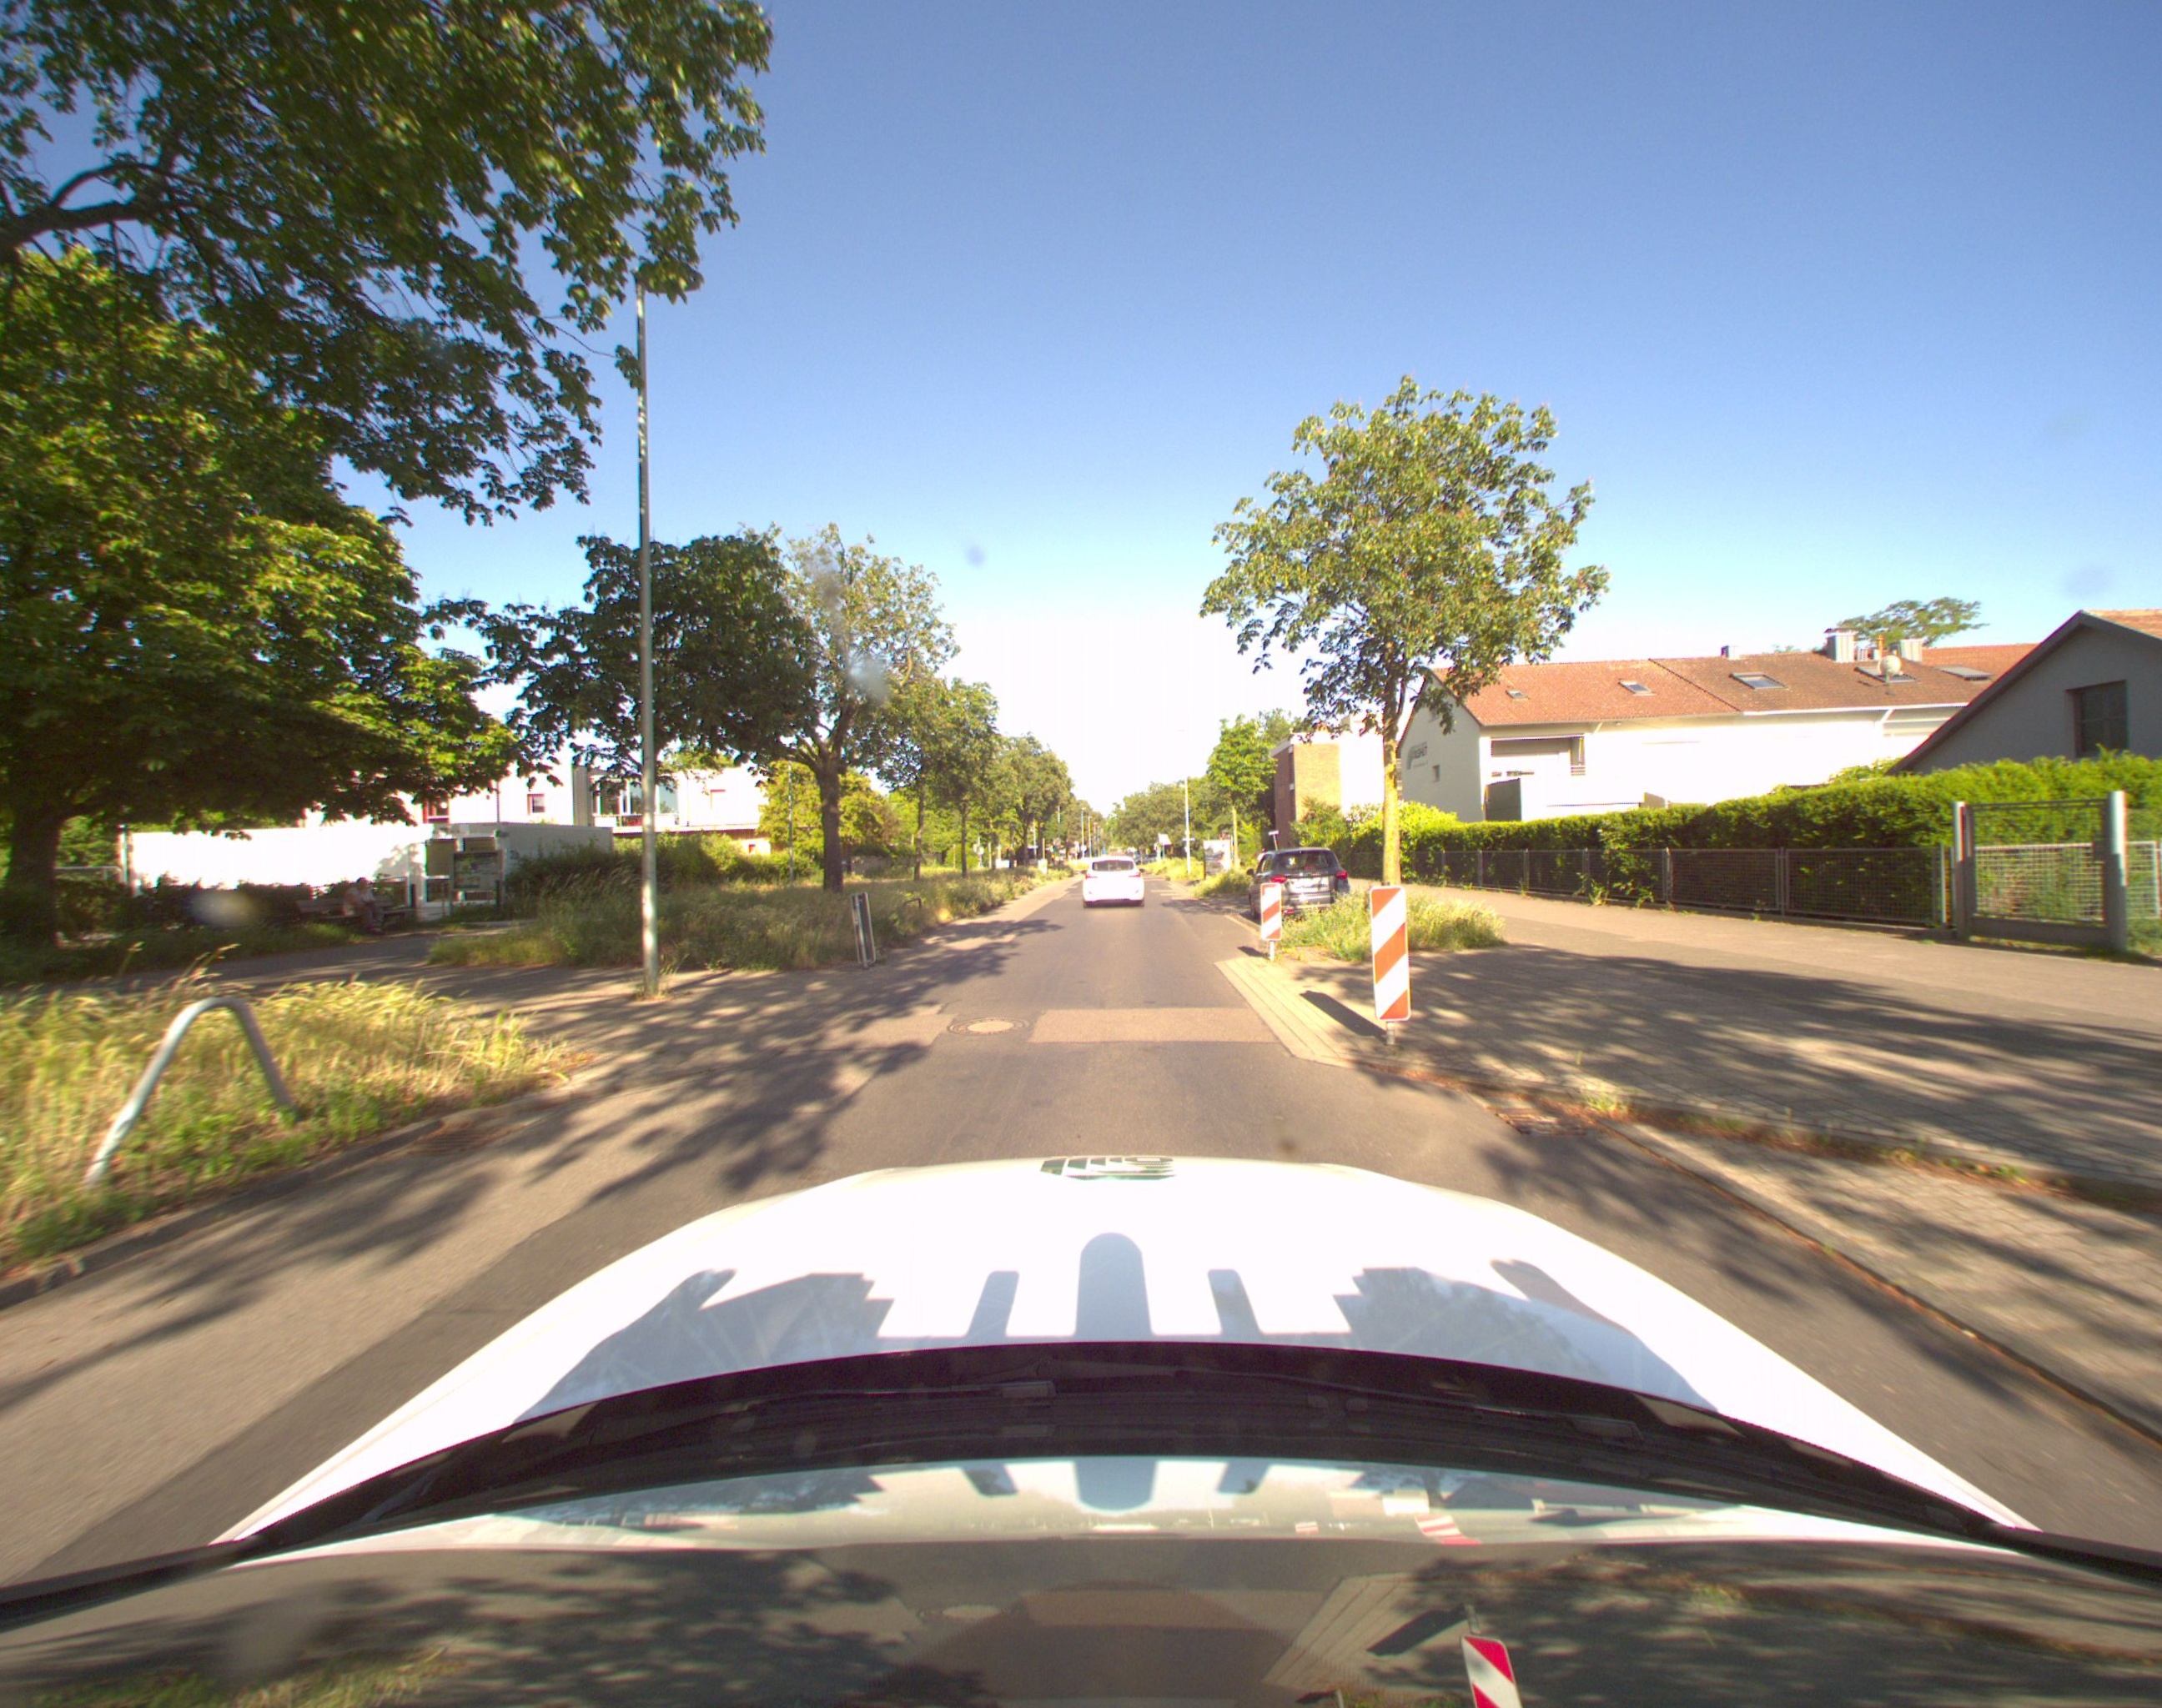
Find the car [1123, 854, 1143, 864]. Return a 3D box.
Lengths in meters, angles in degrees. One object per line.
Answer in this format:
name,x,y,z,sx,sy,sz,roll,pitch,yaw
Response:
car,10.491,1.055,165.251,3.973,2.013,2.000,-1,0,1

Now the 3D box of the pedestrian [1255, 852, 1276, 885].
pedestrian,11.400,0.872,50.409,1.108,2.013,0.922,-1,0,2

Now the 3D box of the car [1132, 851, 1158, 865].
car,9.903,0.622,125.990,3.973,2.013,2.000,-1,0,1

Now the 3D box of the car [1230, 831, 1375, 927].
car,4.626,0.503,17.665,1.987,1.728,4.000,-3,-1,0

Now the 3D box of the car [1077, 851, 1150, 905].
car,0.907,0.655,24.834,1.987,1.455,4.223,-1,0,-1

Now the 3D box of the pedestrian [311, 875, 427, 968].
pedestrian,-14.904,1.357,17.119,1.226,1.827,1.543,0,-1,-14

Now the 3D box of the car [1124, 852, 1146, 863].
car,10.190,0.737,154.646,3.973,2.013,2.000,-1,0,1

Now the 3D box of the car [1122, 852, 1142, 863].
car,10.507,0.723,167.978,3.973,2.013,2.000,-1,0,1

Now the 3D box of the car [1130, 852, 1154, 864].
car,10.316,0.661,138.097,3.973,2.013,2.000,-1,0,1

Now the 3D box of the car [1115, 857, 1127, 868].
car,6.252,1.302,126.202,1.809,1.508,3.661,1,0,3

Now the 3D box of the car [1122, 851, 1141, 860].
car,11.055,0.341,178.134,3.974,1.750,2.000,-1,0,0

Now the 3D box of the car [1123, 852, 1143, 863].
car,10.348,0.717,162.687,3.973,2.013,2.000,-1,0,1
